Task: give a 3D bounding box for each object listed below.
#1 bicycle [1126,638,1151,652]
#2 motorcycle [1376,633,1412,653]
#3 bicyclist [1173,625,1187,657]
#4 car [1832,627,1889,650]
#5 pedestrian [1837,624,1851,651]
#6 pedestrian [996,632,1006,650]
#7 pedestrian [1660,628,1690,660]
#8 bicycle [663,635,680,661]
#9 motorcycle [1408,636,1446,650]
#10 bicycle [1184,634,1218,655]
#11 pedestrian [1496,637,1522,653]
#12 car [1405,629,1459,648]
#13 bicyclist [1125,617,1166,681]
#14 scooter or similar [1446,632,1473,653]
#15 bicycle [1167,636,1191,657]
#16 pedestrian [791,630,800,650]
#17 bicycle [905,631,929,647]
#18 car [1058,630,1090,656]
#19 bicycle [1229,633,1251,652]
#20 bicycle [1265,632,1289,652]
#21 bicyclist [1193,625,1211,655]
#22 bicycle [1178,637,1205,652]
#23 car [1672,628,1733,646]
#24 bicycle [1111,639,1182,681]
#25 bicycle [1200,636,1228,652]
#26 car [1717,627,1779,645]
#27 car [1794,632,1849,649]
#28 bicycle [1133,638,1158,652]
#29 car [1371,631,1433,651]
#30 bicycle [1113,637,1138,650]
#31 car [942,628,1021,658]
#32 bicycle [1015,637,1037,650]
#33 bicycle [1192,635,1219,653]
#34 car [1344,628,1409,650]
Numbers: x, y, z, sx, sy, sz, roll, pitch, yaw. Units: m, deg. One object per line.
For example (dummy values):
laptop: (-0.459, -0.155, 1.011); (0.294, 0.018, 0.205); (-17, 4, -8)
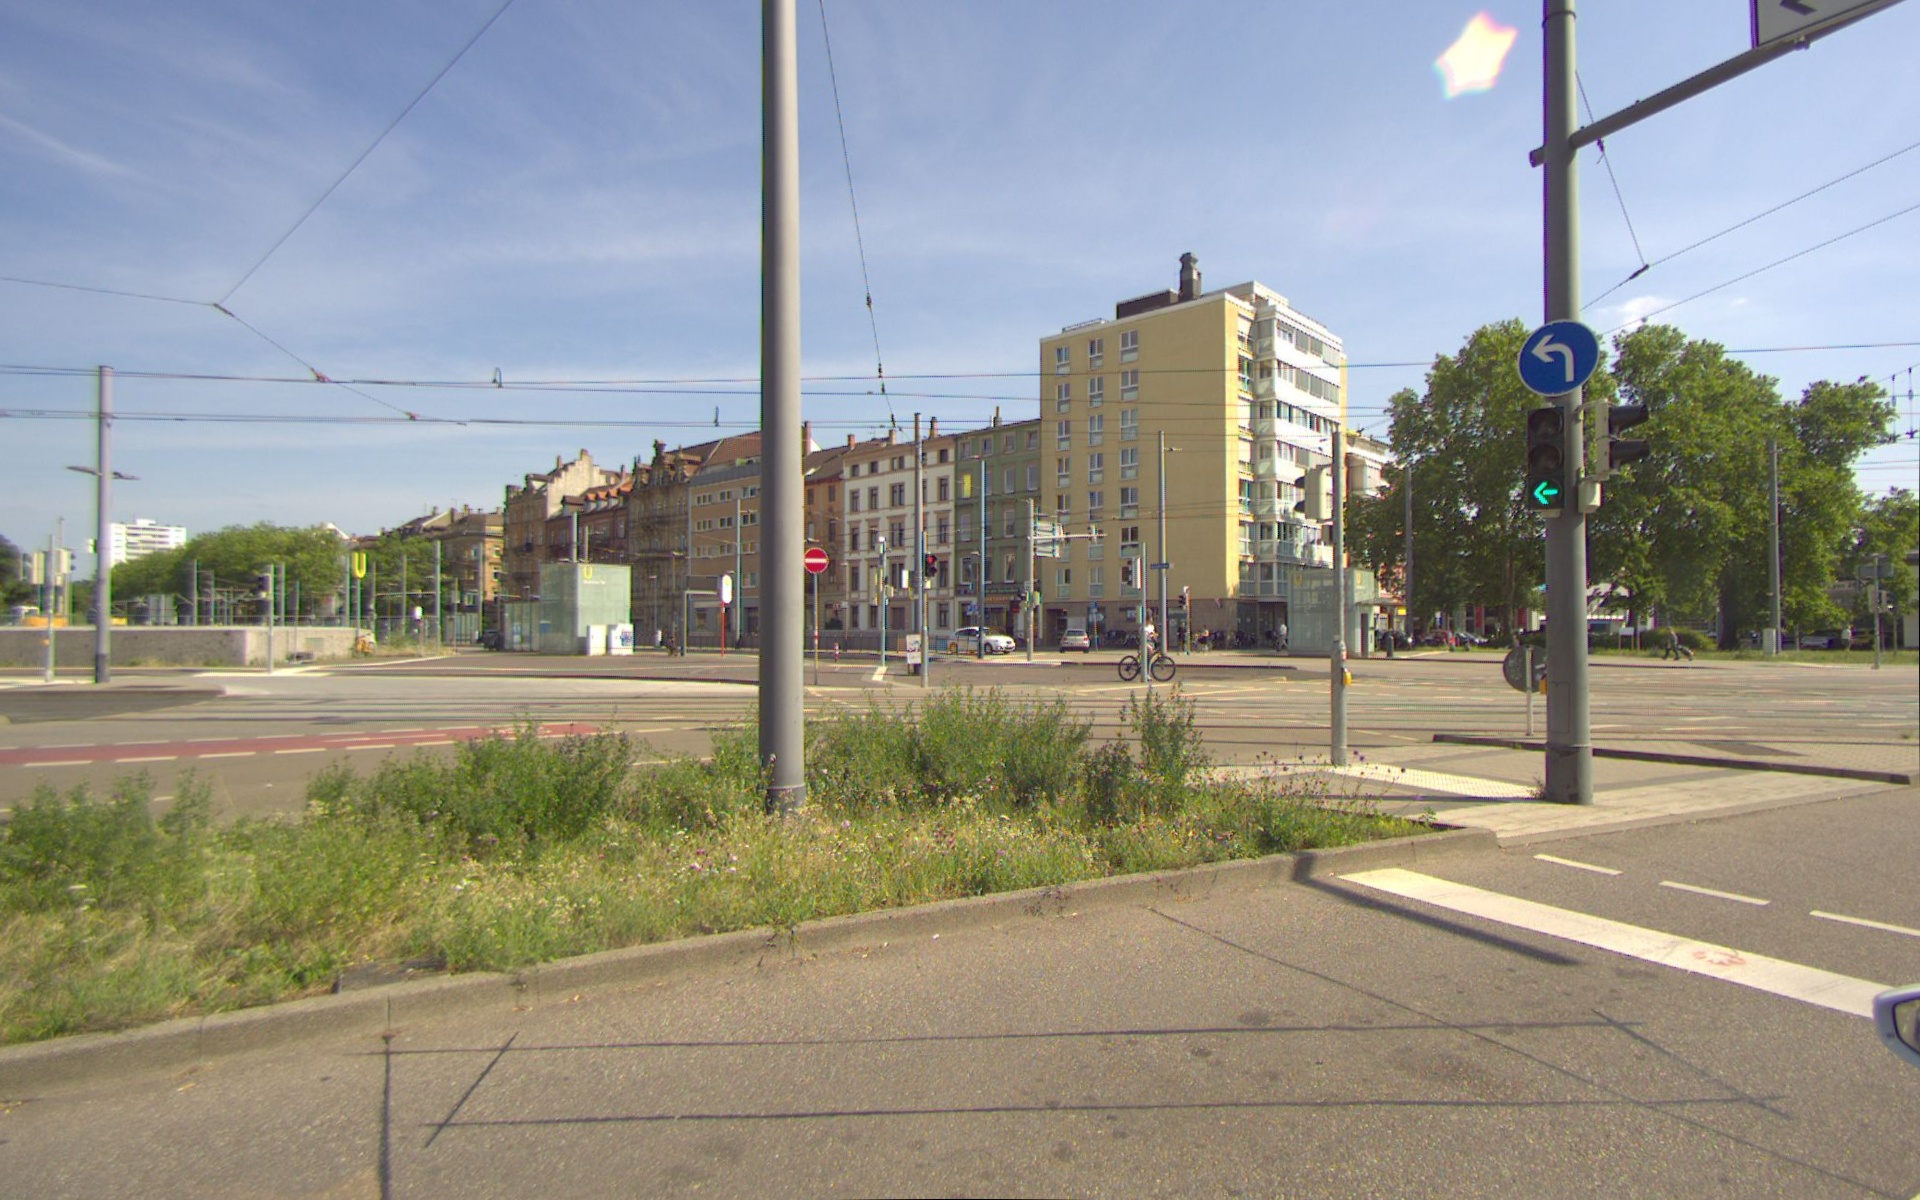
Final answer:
bicycle: (12.228, 3.043, 68.706); (0.579, 0.928, 1.737); (0, -2, -39)
motorcycle: (24.785, 2.449, 57.377); (0.631, 1.076, 2.028); (0, -2, -22)
bicyclist: (12.109, 2.254, 55.272); (0.575, 1.757, 0.615); (-2, -3, 37)
car: (71.647, 3.080, 79.957); (3.946, 1.706, 1.988); (2, 0, -25)
pedestrian: (53.170, 2.250, 60.442); (0.455, 1.617, 0.393); (2, 0, -6)
pedestrian: (3.199, 3.170, 78.288); (0.637, 1.392, 0.524); (-1, -2, 43)
pedestrian: (33.312, 2.057, 46.796); (1.100, 1.422, 0.654); (2, 0, 39)
bicycle: (-13.176, 2.175, 45.898); (0.408, 1.085, 1.651); (0, 0, -28)
motorcycle: (28.320, 2.594, 60.951); (1.997, 0.853, 0.641); (0, -1, 4)
bicycle: (12.963, 2.381, 54.015); (1.775, 1.145, 0.749); (1, -2, -30)
pedestrian: (32.296, 2.643, 59.105); (1.159, 0.904, 0.818); (-1, -2, 41)
car: (38.899, 3.181, 82.877); (3.684, 1.358, 1.733); (2, 0, 44)
bicyclist: (5.044, 1.327, 27.261); (0.745, 1.706, 0.768); (2, -4, -40)
scooter or similar: (27.089, 2.309, 54.524); (0.509, 1.134, 1.358); (0, -1, -19)
bicycle: (12.087, 2.567, 55.440); (0.575, 1.145, 1.790); (-2, -3, 37)
pedestrian: (-13.687, 3.306, 83.698); (0.518, 1.687, 0.551); (-2, -2, 43)
bicycle: (-3.037, 2.760, 71.240); (0.589, 1.109, 1.738); (0, -2, 43)
car: (7.008, 2.657, 62.071); (1.777, 1.458, 4.004); (1, -4, 4)
bicycle: (18.354, 2.790, 65.761); (0.534, 1.201, 1.878); (-1, -2, 45)
bicycle: (20.459, 2.715, 64.853); (1.740, 1.235, 0.578); (0, -1, -37)
bicyclist: (13.025, 2.137, 54.051); (0.605, 1.593, 0.728); (1, -3, -29)
bicycle: (15.305, 2.935, 66.344); (0.579, 0.978, 1.736); (0, -2, -41)
car: (66.628, 3.293, 90.186); (1.976, 1.390, 3.968); (2, 0, -30)
bicycle: (5.043, 1.642, 27.268); (0.745, 1.098, 1.828); (2, -4, -40)
bicycle: (16.496, 2.858, 65.202); (0.579, 1.056, 1.737); (0, -2, -40)
car: (70.328, 3.234, 89.705); (1.977, 1.572, 3.967); (1, -2, -31)
car: (70.173, 3.266, 81.817); (3.946, 1.261, 1.988); (2, 0, -25)
bicycle: (12.738, 3.059, 68.938); (0.579, 0.928, 1.737); (0, -2, -39)
car: (33.763, 3.111, 76.774); (3.945, 1.287, 1.733); (1, 0, 44)
bicycle: (11.536, 3.028, 70.036); (1.733, 0.928, 0.580); (-2, -2, 44)
car: (1.123, 2.271, 53.667); (4.067, 1.417, 1.749); (-1, 1, 43)
bicycle: (4.991, 3.287, 76.302); (1.755, 0.977, 0.412); (-2, 0, 43)
bicycle: (15.869, 2.850, 64.977); (0.578, 1.100, 1.740); (-3, 0, -34)
car: (30.513, 2.825, 73.669); (3.945, 1.459, 1.879); (2, 0, 44)
